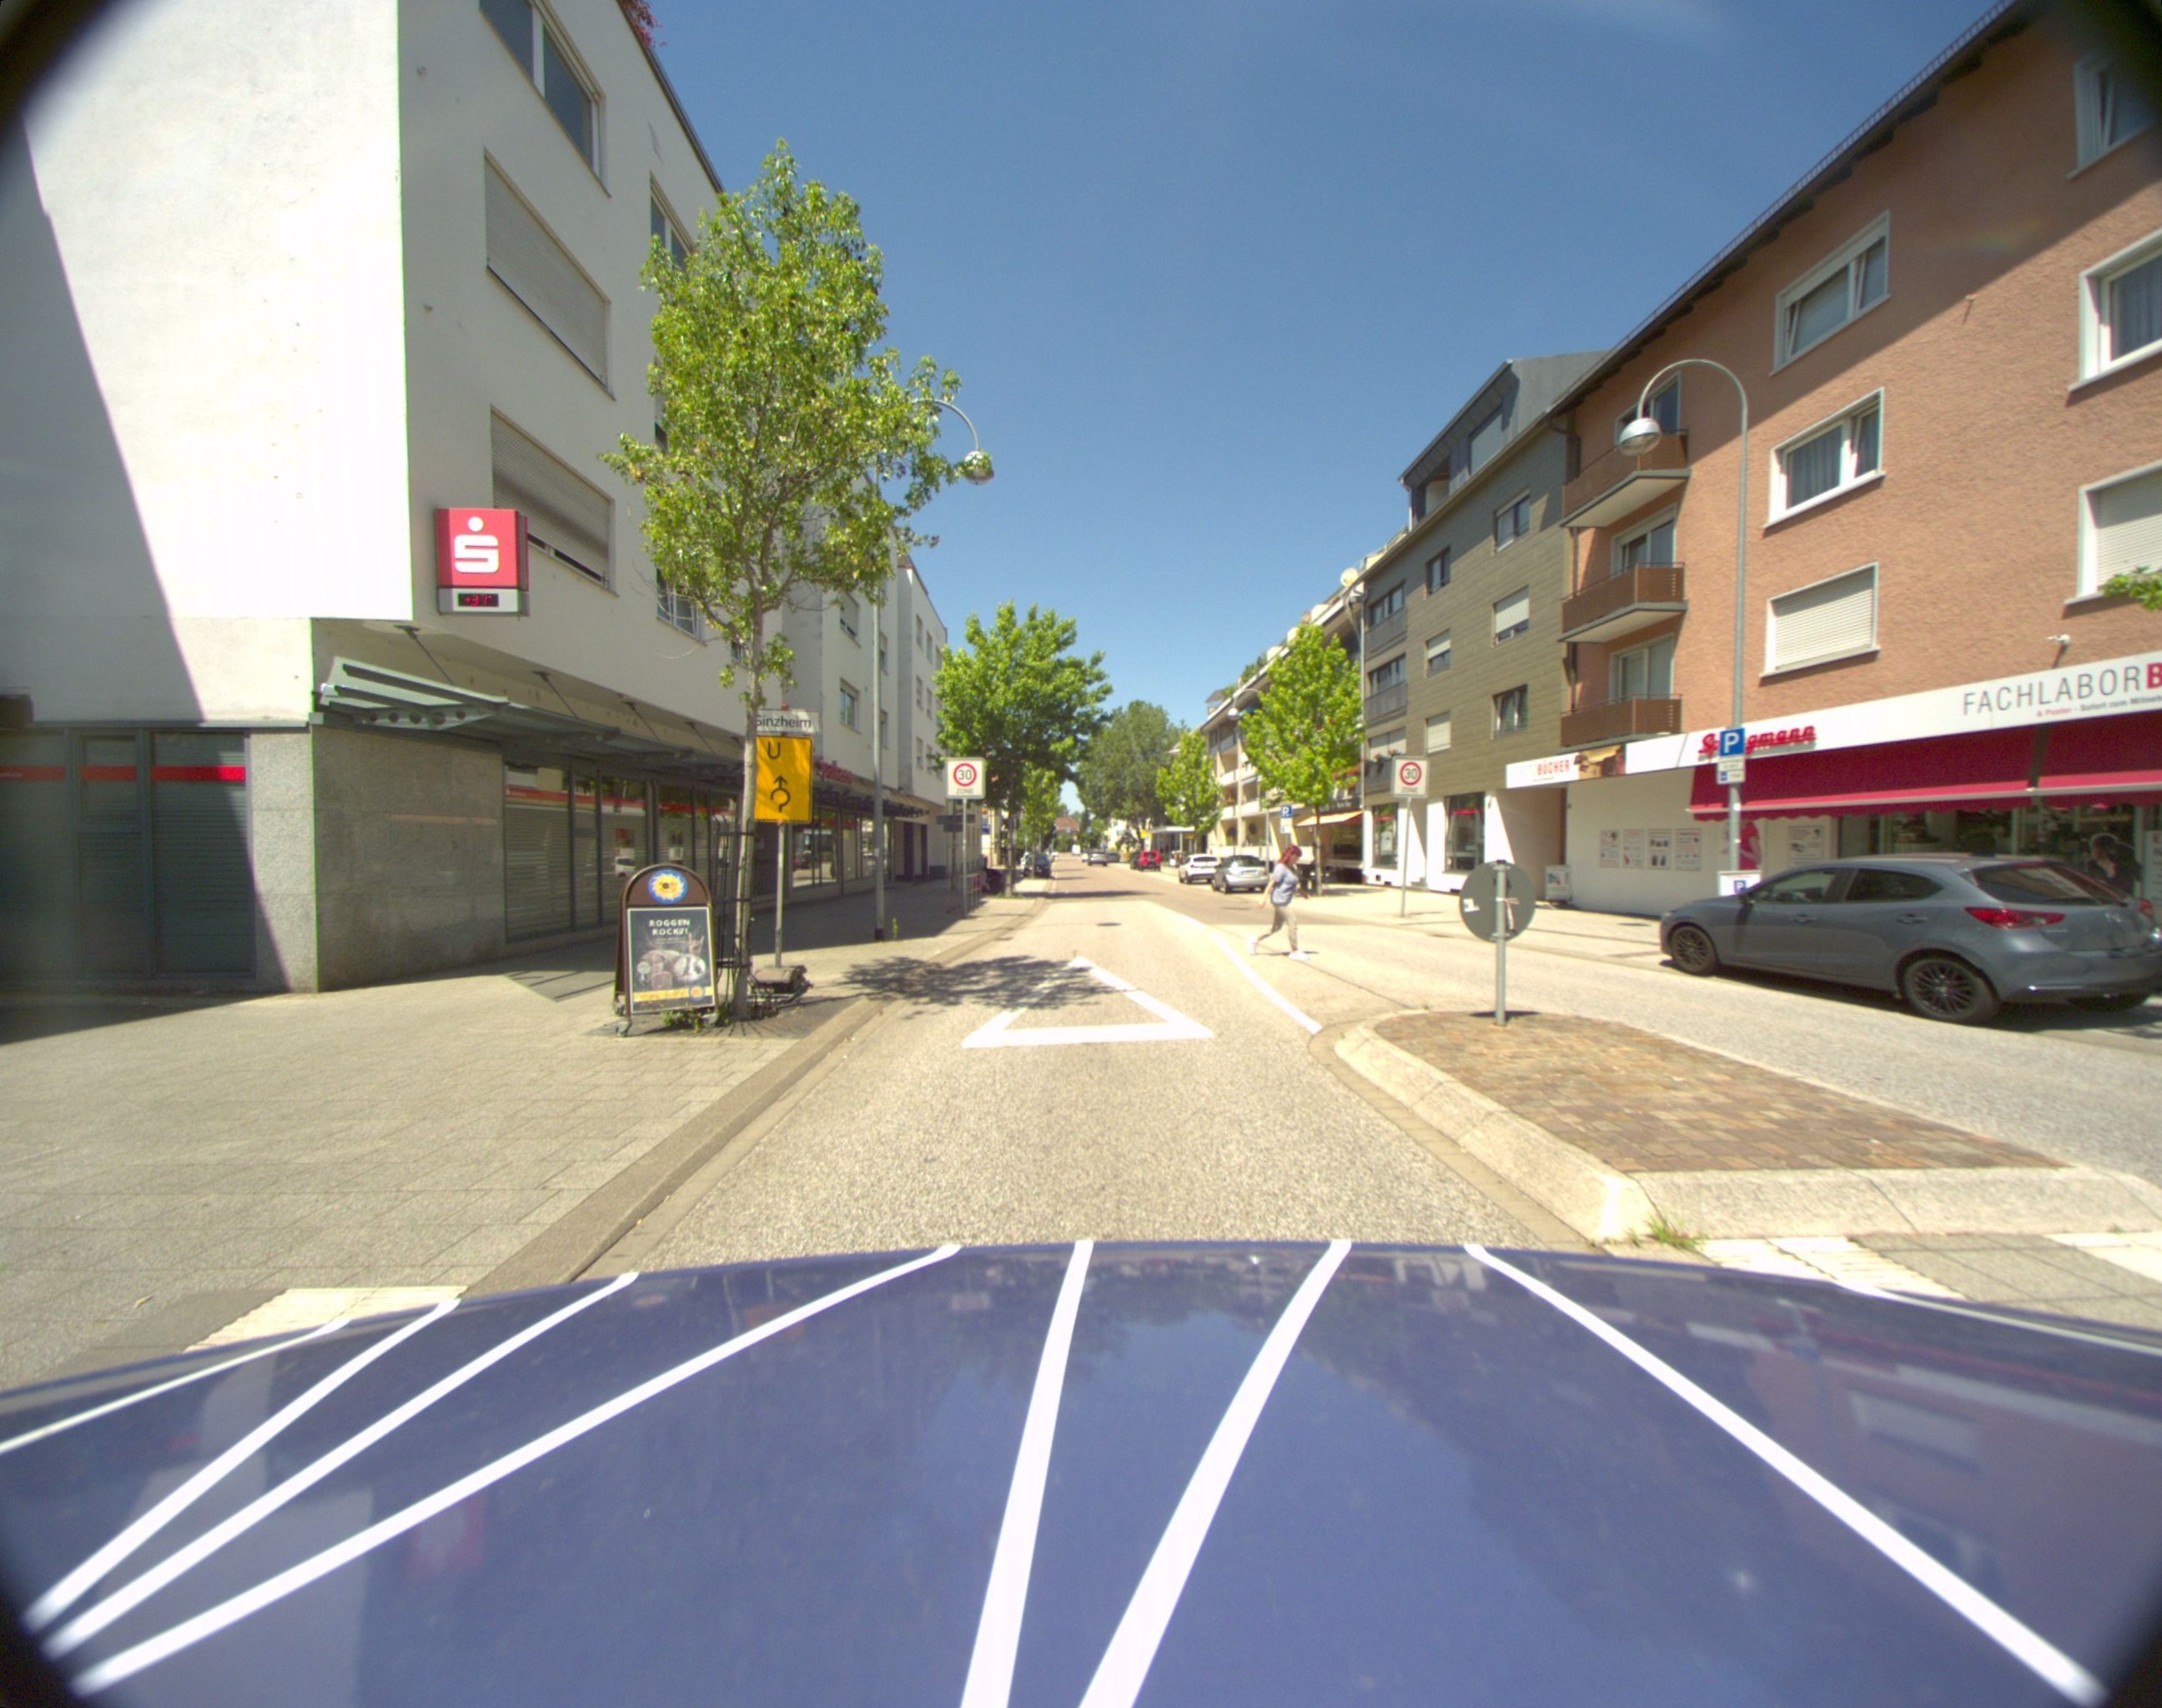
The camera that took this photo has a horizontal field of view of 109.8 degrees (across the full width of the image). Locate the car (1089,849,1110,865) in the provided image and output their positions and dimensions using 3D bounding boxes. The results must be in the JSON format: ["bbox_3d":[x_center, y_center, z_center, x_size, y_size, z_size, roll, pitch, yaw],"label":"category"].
[{"bbox_3d":[2.056,0.341,84.579,1.906,1.744,4.754,1,0,-4],"label":"car"}]

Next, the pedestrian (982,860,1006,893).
[{"bbox_3d":[-3.357,0.856,29.239,0.761,1.233,0.538,1,1,13],"label":"pedestrian"}]

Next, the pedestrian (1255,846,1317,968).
[{"bbox_3d":[2.759,0.697,10.270,0.734,1.600,0.559,0,1,7],"label":"pedestrian"}]

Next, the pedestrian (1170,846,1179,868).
[{"bbox_3d":[7.695,0.226,62.724,0.667,1.794,0.686,0,1,14],"label":"pedestrian"}]

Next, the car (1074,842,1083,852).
[{"bbox_3d":[-0.705,-1.809,198.034,2.232,2.452,5.247,0,1,-1],"label":"car"}]

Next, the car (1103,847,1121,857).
[{"bbox_3d":[4.234,-0.298,104.592,1.999,1.412,3.997,0,0,-6],"label":"car"}]

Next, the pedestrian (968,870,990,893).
[{"bbox_3d":[-4.007,1.079,29.868,0.678,0.847,0.538,1,1,13],"label":"pedestrian"}]

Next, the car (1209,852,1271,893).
[{"bbox_3d":[6.124,0.662,29.551,1.626,1.465,3.547,0,1,-1],"label":"car"}]

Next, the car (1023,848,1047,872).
[{"bbox_3d":[-3.452,0.428,56.636,1.693,1.712,4.132,0,1,-4],"label":"car"}]

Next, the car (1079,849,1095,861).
[{"bbox_3d":[0.808,0.117,105.451,1.777,1.623,4.296,0,1,-7],"label":"car"}]

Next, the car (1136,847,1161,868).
[{"bbox_3d":[5.601,0.303,63.570,1.645,1.652,3.369,-2,1,-1],"label":"car"}]

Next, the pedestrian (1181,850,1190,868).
[{"bbox_3d":[8.681,0.374,63.105,0.778,1.490,0.698,0,1,10],"label":"pedestrian"}]

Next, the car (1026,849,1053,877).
[{"bbox_3d":[-2.829,0.555,51.120,1.693,1.712,3.998,2,0,-4],"label":"car"}]

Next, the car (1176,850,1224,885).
[{"bbox_3d":[6.216,0.659,40.118,1.699,1.583,4.299,-6,0,-1],"label":"car"}]

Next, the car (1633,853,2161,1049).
[{"bbox_3d":[8.403,0.778,8.206,1.672,1.477,4.058,-3,1,-5],"label":"car"}]
